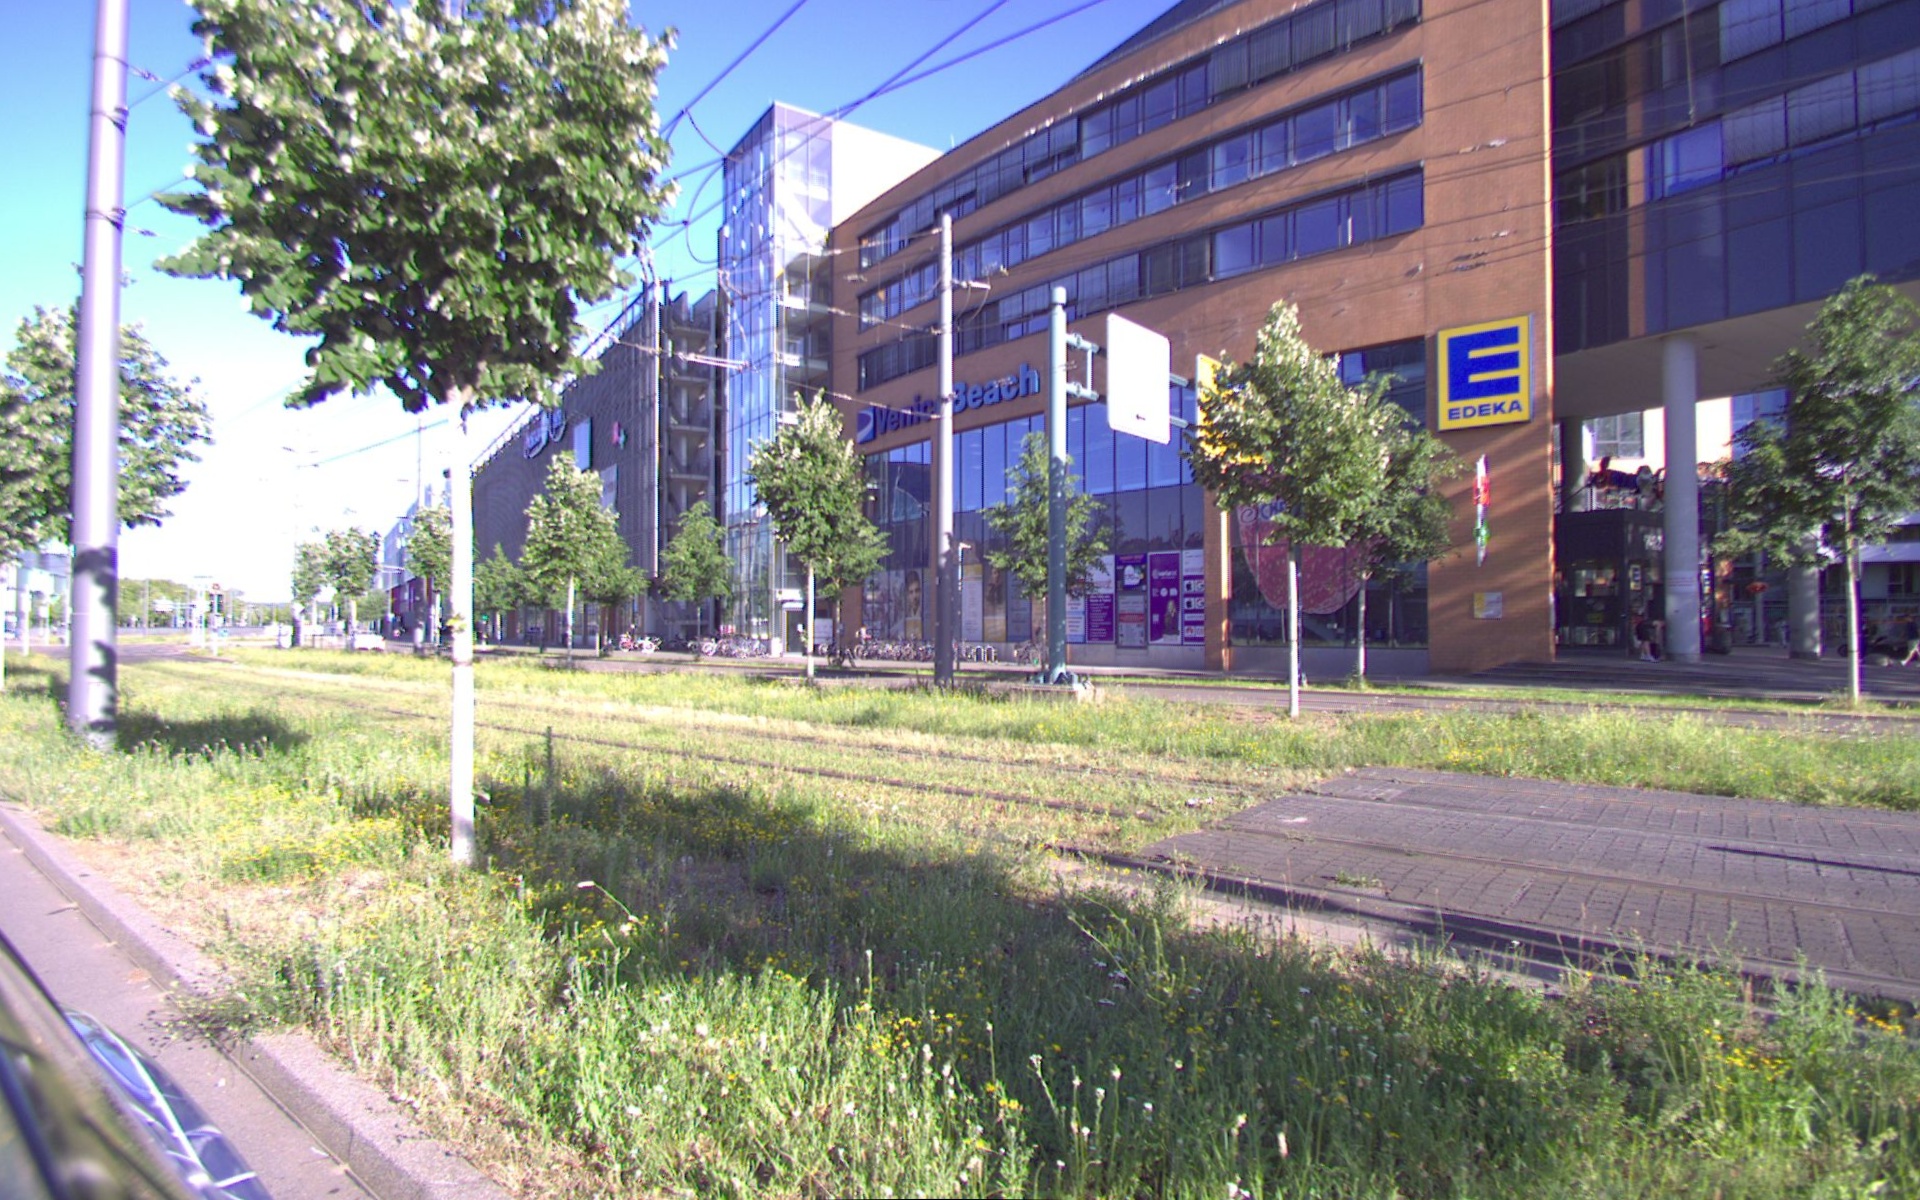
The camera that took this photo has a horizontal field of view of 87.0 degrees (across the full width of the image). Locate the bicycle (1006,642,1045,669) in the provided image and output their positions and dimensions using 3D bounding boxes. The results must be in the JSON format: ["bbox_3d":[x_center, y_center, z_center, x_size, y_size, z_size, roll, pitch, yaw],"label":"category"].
[{"bbox_3d":[2.639,2.213,40.749,1.744,1.057,0.491,1,-2,-43],"label":"bicycle"}]

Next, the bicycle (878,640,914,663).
[{"bbox_3d":[-3.014,2.416,47.716,1.744,1.057,0.491,1,-2,-43],"label":"bicycle"}]

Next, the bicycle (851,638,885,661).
[{"bbox_3d":[-4.461,2.397,49.258,1.744,1.057,0.491,1,-2,-43],"label":"bicycle"}]

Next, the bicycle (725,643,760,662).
[{"bbox_3d":[-11.525,2.779,53.688,1.742,0.933,0.566,1,-2,-34],"label":"bicycle"}]

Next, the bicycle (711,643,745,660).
[{"bbox_3d":[-12.709,2.812,55.420,1.742,0.933,0.566,1,-2,-34],"label":"bicycle"}]

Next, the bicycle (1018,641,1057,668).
[{"bbox_3d":[3.096,2.158,40.321,1.744,1.057,0.491,1,-2,-43],"label":"bicycle"}]

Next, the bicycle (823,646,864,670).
[{"bbox_3d":[-4.468,2.212,38.677,1.770,0.875,0.458,-2,-2,40],"label":"bicycle"}]

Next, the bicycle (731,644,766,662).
[{"bbox_3d":[-11.090,2.767,53.050,1.742,0.933,0.566,1,-2,-34],"label":"bicycle"}]

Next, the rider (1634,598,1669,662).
[{"bbox_3d":[19.903,0.858,29.121,0.712,1.816,0.710,-2,-2,41],"label":"rider"}]

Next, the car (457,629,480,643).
[{"bbox_3d":[-55.494,4.072,114.205,1.560,1.541,3.758,-1,-1,-38],"label":"car"}]

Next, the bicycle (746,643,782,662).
[{"bbox_3d":[-9.968,2.687,51.565,1.742,0.933,0.566,1,-2,-34],"label":"bicycle"}]

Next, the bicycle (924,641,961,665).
[{"bbox_3d":[-0.780,2.359,45.199,1.744,1.057,0.491,1,-2,-43],"label":"bicycle"}]

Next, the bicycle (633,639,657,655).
[{"bbox_3d":[-19.880,2.961,63.884,1.377,0.933,0.463,1,-2,-34],"label":"bicycle"}]

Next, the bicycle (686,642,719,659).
[{"bbox_3d":[-14.770,2.867,58.051,1.742,0.933,0.566,1,-2,-34],"label":"bicycle"}]

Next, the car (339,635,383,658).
[{"bbox_3d":[-37.111,2.845,62.678,1.782,1.338,4.414,2,-2,-37],"label":"car"}]

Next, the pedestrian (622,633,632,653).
[{"bbox_3d":[-21.767,2.817,66.170,0.442,1.299,0.631,1,-2,-37],"label":"pedestrian"}]

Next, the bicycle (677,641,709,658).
[{"bbox_3d":[-15.607,2.900,59.186,1.742,0.933,0.492,1,-2,-34],"label":"bicycle"}]

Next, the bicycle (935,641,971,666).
[{"bbox_3d":[-0.310,2.347,44.663,1.744,1.057,0.491,1,-2,-43],"label":"bicycle"}]

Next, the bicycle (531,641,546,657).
[{"bbox_3d":[-25.050,2.895,60.154,0.380,0.930,1.775,1,-2,-37],"label":"bicycle"}]

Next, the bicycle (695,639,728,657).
[{"bbox_3d":[-14.008,2.700,57.123,1.742,0.933,0.492,1,-2,-34],"label":"bicycle"}]

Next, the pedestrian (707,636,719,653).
[{"bbox_3d":[-15.644,2.801,64.128,0.620,1.063,0.450,1,-2,-38],"label":"pedestrian"}]

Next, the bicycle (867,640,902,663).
[{"bbox_3d":[-3.614,2.431,48.334,1.744,1.057,0.491,1,-2,-43],"label":"bicycle"}]

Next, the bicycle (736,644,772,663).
[{"bbox_3d":[-10.675,2.755,52.382,1.742,0.933,0.566,1,-2,-34],"label":"bicycle"}]

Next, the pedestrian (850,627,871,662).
[{"bbox_3d":[-4.896,2.171,49.846,0.736,1.681,0.676,1,-2,-44],"label":"pedestrian"}]

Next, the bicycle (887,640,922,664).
[{"bbox_3d":[-2.577,2.405,47.232,1.744,1.057,0.491,1,-2,-43],"label":"bicycle"}]

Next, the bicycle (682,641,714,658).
[{"bbox_3d":[-15.176,2.878,58.592,1.742,0.933,0.492,1,-2,-34],"label":"bicycle"}]

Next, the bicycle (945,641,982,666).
[{"bbox_3d":[0.175,2.335,44.156,1.744,1.057,0.491,1,-2,-43],"label":"bicycle"}]

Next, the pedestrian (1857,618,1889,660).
[{"bbox_3d":[37.940,1.618,42.057,0.778,1.720,0.810,-1,-1,-33],"label":"pedestrian"}]

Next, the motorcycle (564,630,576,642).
[{"bbox_3d":[-31.019,2.860,80.481,0.421,0.927,2.029,1,-2,-35],"label":"motorcycle"}]

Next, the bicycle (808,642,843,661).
[{"bbox_3d":[-6.982,2.659,52.728,1.742,0.933,0.566,1,-2,-34],"label":"bicycle"}]

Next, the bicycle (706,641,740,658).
[{"bbox_3d":[-13.119,2.724,55.994,1.742,0.933,0.492,1,-2,-34],"label":"bicycle"}]

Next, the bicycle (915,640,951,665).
[{"bbox_3d":[-1.227,2.371,45.713,1.744,1.057,0.491,1,-2,-43],"label":"bicycle"}]

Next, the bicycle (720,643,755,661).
[{"bbox_3d":[-11.935,2.790,54.232,1.742,0.933,0.566,1,-2,-34],"label":"bicycle"}]

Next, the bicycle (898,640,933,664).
[{"bbox_3d":[-2.056,2.392,46.733,1.744,1.057,0.491,1,-2,-43],"label":"bicycle"}]

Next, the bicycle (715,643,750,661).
[{"bbox_3d":[-12.325,2.801,54.833,1.742,0.933,0.566,1,-2,-34],"label":"bicycle"}]

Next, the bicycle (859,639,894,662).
[{"bbox_3d":[-4.000,2.440,48.747,1.744,1.057,0.491,1,-2,-43],"label":"bicycle"}]

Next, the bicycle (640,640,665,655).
[{"bbox_3d":[-19.070,2.939,62.771,1.377,0.933,0.463,1,-2,-34],"label":"bicycle"}]
